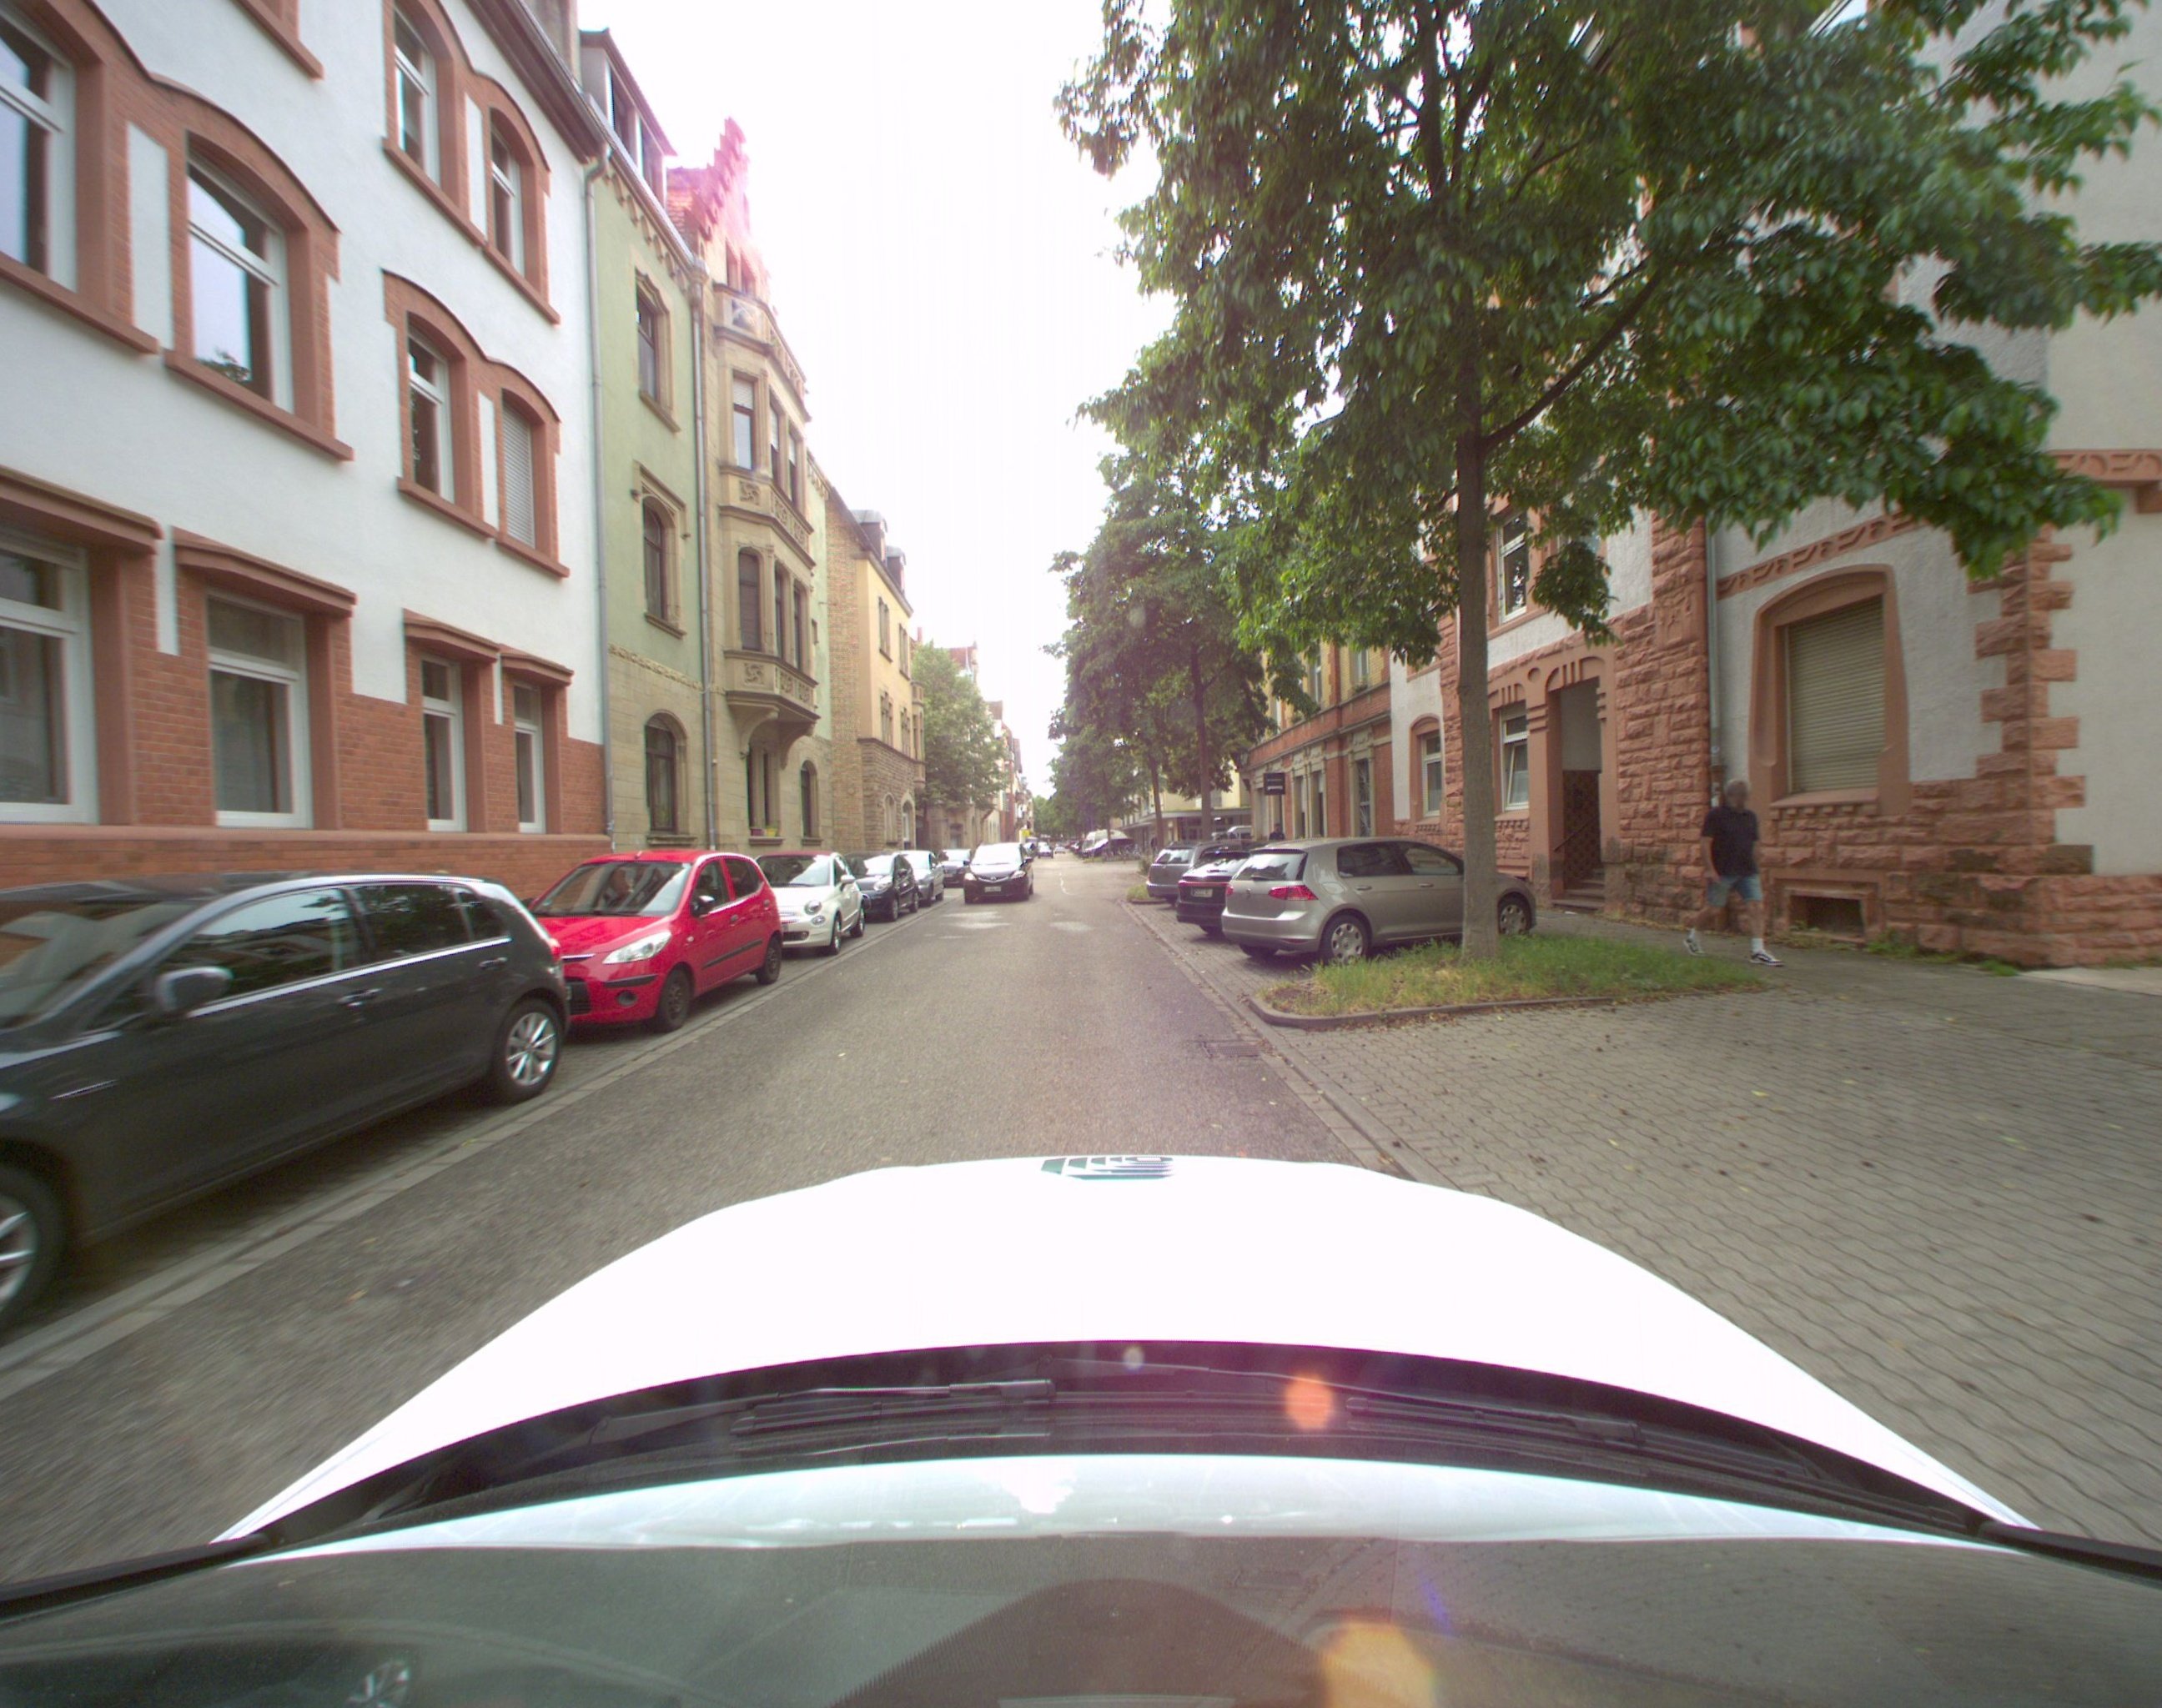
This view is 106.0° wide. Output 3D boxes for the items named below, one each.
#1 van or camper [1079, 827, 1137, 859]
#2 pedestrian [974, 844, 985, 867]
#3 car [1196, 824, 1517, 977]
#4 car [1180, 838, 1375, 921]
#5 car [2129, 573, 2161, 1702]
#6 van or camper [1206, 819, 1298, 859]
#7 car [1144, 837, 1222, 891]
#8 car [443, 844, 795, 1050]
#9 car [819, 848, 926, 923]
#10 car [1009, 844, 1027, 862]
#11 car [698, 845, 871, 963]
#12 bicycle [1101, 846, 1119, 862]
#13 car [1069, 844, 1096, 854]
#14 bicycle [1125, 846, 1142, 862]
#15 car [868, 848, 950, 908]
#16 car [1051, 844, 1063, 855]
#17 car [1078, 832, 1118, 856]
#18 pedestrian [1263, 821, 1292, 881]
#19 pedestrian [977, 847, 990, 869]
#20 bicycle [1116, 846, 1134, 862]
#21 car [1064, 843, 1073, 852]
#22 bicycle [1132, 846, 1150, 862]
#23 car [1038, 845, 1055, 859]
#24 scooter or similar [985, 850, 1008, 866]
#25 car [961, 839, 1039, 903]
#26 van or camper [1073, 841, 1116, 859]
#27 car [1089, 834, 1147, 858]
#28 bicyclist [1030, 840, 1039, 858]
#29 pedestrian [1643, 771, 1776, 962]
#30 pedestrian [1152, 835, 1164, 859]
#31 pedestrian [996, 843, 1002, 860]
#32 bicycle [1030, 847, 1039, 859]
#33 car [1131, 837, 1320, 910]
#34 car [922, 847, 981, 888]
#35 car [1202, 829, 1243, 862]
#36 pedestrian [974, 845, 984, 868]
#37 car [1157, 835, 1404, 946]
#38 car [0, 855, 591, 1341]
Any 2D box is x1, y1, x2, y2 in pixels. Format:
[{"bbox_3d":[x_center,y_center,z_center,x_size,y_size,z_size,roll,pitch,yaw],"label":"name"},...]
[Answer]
[{"bbox_3d":[2.264,-0.929,68.619,4.615,2.595,1.891,-2,1,-34],"label":"van or camper"},{"bbox_3d":[-7.264,0.119,58.315,0.612,1.643,0.605,-1,1,10],"label":"pedestrian"},{"bbox_3d":[3.389,0.456,10.066,3.473,1.563,1.772,-2,1,-24],"label":"car"},{"bbox_3d":[4.029,0.434,16.454,3.902,1.435,1.727,-2,1,-37],"label":"car"},{"bbox_3d":[3.536,0.440,0.175,3.963,1.811,1.725,-1,1,9],"label":"car"},{"bbox_3d":[11.277,-0.976,54.011,5.743,2.494,2.139,-1,1,5],"label":"van or camper"},{"bbox_3d":[3.192,0.257,26.352,1.759,1.486,4.477,-4,1,-2],"label":"car"},{"bbox_3d":[-4.149,0.689,8.002,1.461,1.530,3.567,0,1,-1],"label":"car"},{"bbox_3d":[-4.454,0.614,17.854,1.512,1.434,3.454,0,1,-1],"label":"car"},{"bbox_3d":[-5.991,-0.096,77.506,1.642,1.570,2.954,0,2,-2],"label":"car"},{"bbox_3d":[-4.409,0.646,12.676,1.664,1.511,3.547,-1,1,-6],"label":"car"},{"bbox_3d":[2.105,-0.005,58.879,0.551,1.173,1.715,-2,1,-23],"label":"bicycle"},{"bbox_3d":[0.235,-0.808,136.856,4.038,1.559,1.865,-2,0,-33],"label":"car"},{"bbox_3d":[3.866,-0.005,59.922,0.551,1.173,1.715,-2,1,-23],"label":"bicycle"},{"bbox_3d":[-4.614,0.581,22.294,1.585,1.434,3.806,0,1,-3],"label":"car"},{"bbox_3d":[-3.944,-0.705,133.821,1.987,1.794,3.998,0,-1,-1],"label":"car"},{"bbox_3d":[1.686,-0.956,77.761,2.041,2.196,4.426,-1,1,27],"label":"car"},{"bbox_3d":[5.759,-0.087,23.903,0.596,1.733,0.663,-2,1,-3],"label":"pedestrian"},{"bbox_3d":[-7.050,0.263,59.122,0.623,1.593,0.674,-1,1,39],"label":"pedestrian"},{"bbox_3d":[3.219,-0.004,59.493,0.551,1.173,1.715,-2,1,-23],"label":"bicycle"},{"bbox_3d":[-3.190,-1.650,207.186,1.988,2.013,3.997,1,0,-2],"label":"car"},{"bbox_3d":[4.444,-0.006,60.277,0.551,1.173,1.684,-2,1,-23],"label":"bicycle"},{"bbox_3d":[-3.759,-0.222,89.196,1.703,1.413,3.850,-2,0,-1],"label":"car"},{"bbox_3d":[-6.018,0.301,57.845,1.460,1.104,0.678,0,1,10],"label":"scooter or similar"},{"bbox_3d":[-2.244,0.410,23.588,1.804,1.630,4.207,-2,1,0],"label":"car"},{"bbox_3d":[1.760,-0.497,103.266,5.037,1.869,2.107,-4,1,-29],"label":"van or camper"},{"bbox_3d":[2.999,-0.643,66.577,4.356,1.854,1.894,-2,1,-27],"label":"car"},{"bbox_3d":[-4.120,-0.433,72.600,0.645,1.538,0.677,-3,0,1],"label":"bicyclist"},{"bbox_3d":[6.312,0.112,8.220,0.699,1.811,0.817,-1,1,-1],"label":"pedestrian"},{"bbox_3d":[5.687,-0.510,60.093,0.776,1.797,0.509,-1,1,0],"label":"pedestrian"},{"bbox_3d":[-7.809,-0.241,77.731,0.514,1.518,0.546,-2,0,-2],"label":"pedestrian"},{"bbox_3d":[-4.109,-0.096,72.566,0.631,1.094,1.799,-2,0,1],"label":"bicycle"},{"bbox_3d":[3.418,0.377,18.793,4.466,1.427,1.739,-2,1,-38],"label":"car"},{"bbox_3d":[-4.961,0.460,31.606,1.722,1.434,3.880,0,1,-1],"label":"car"},{"bbox_3d":[8.375,-0.506,48.432,1.764,1.819,4.001,-1,1,1],"label":"car"},{"bbox_3d":[-7.239,0.175,57.719,0.524,1.643,0.530,0,0,10],"label":"pedestrian"},{"bbox_3d":[3.186,0.469,12.798,3.708,1.466,1.688,-2,1,-33],"label":"car"},{"bbox_3d":[-4.048,0.758,3.577,1.461,1.416,3.916,0,1,-1],"label":"car"}]
